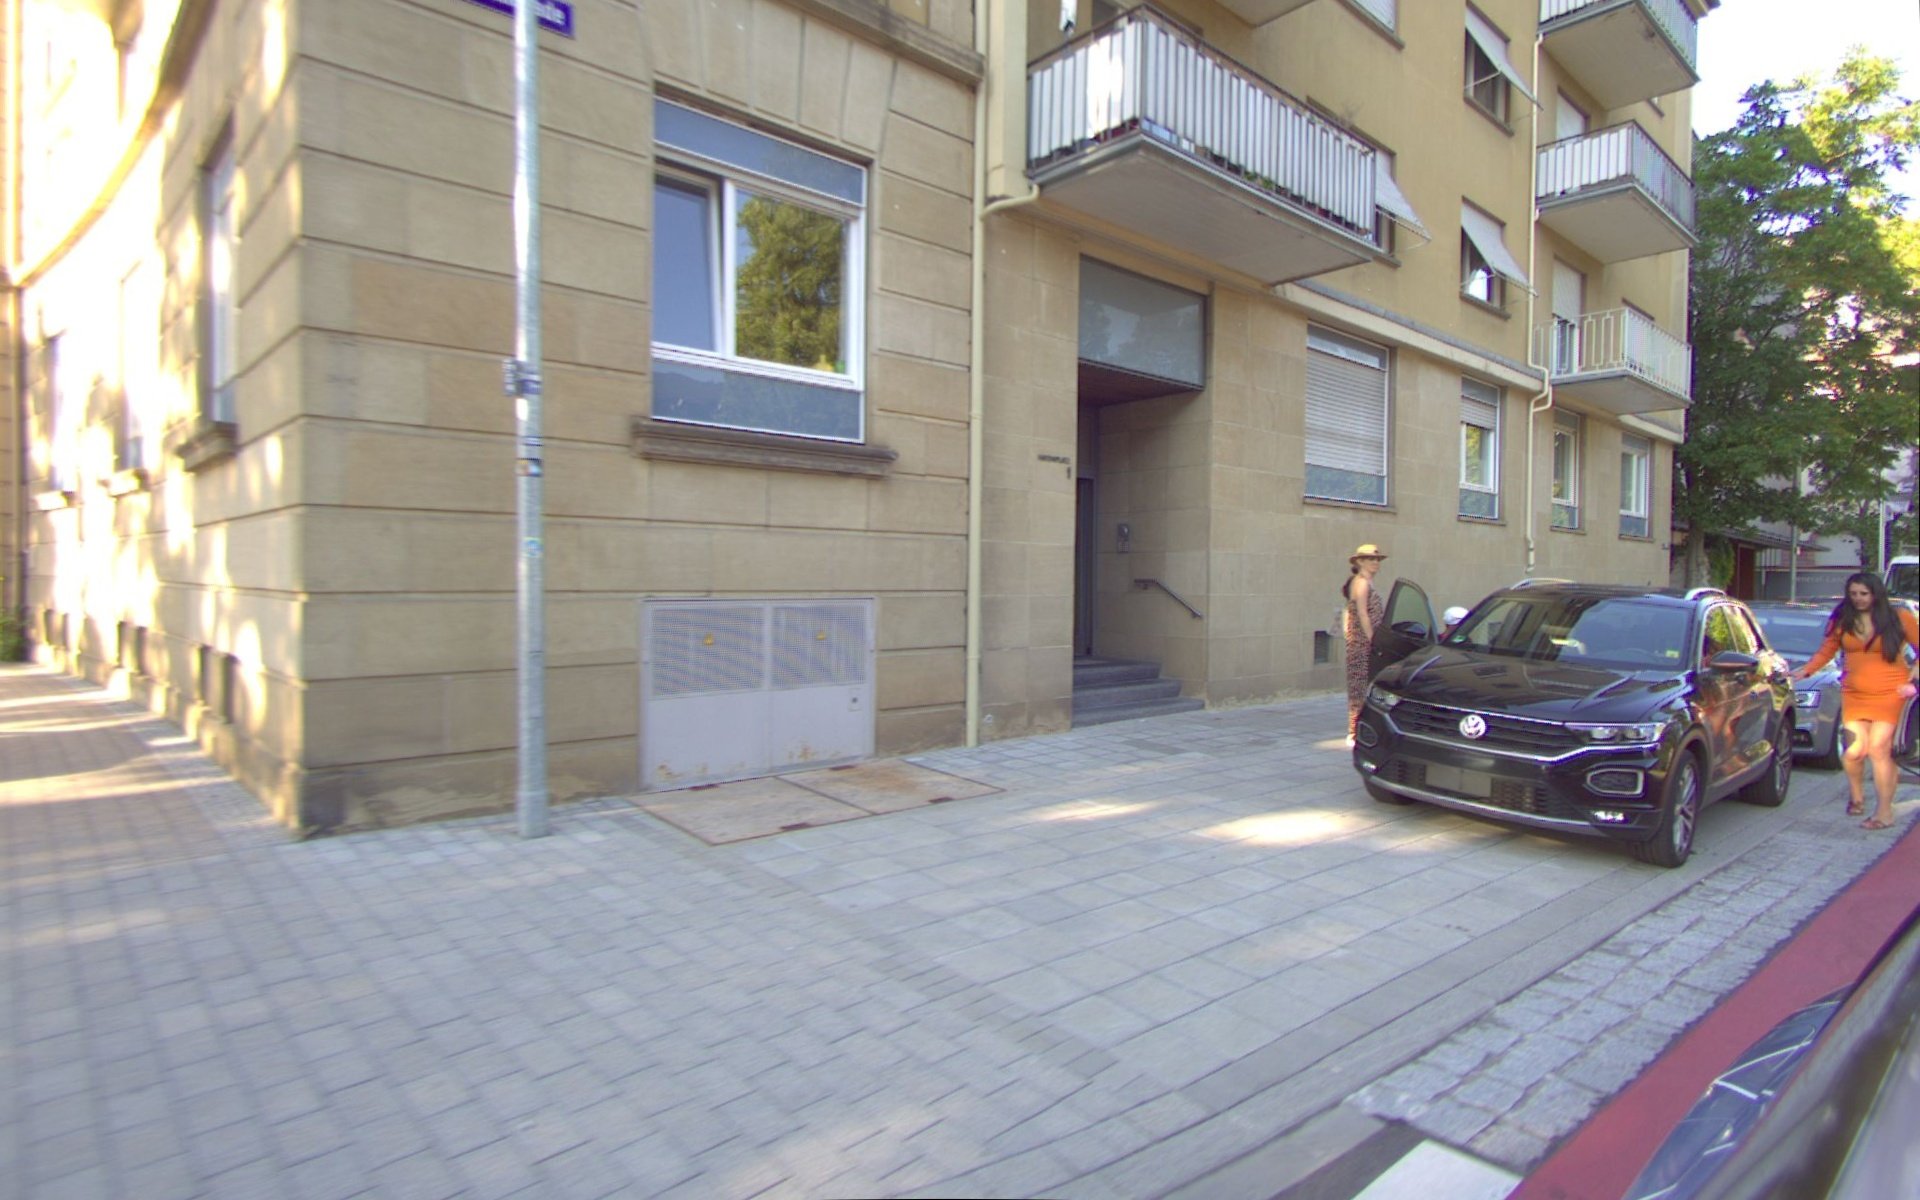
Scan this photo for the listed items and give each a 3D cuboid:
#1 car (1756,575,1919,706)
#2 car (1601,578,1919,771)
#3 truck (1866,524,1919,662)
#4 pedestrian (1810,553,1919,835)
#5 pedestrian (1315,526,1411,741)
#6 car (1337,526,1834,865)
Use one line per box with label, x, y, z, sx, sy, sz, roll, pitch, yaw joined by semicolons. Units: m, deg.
car;12.412;0.443;13.847;3.968;1.437;1.706;-2;5;-42
car;8.226;0.558;10.158;4.271;1.437;1.708;-2;5;-39
truck;20.854;-0.205;20.896;6.754;2.595;2.133;-2;3;-39
pedestrian;6.347;0.587;6.839;0.938;1.791;0.777;-1;1;-40
pedestrian;3.600;0.284;9.076;0.720;1.853;0.554;0;0;13
car;4.518;0.418;7.012;4.273;1.645;1.706;0;4;-42
